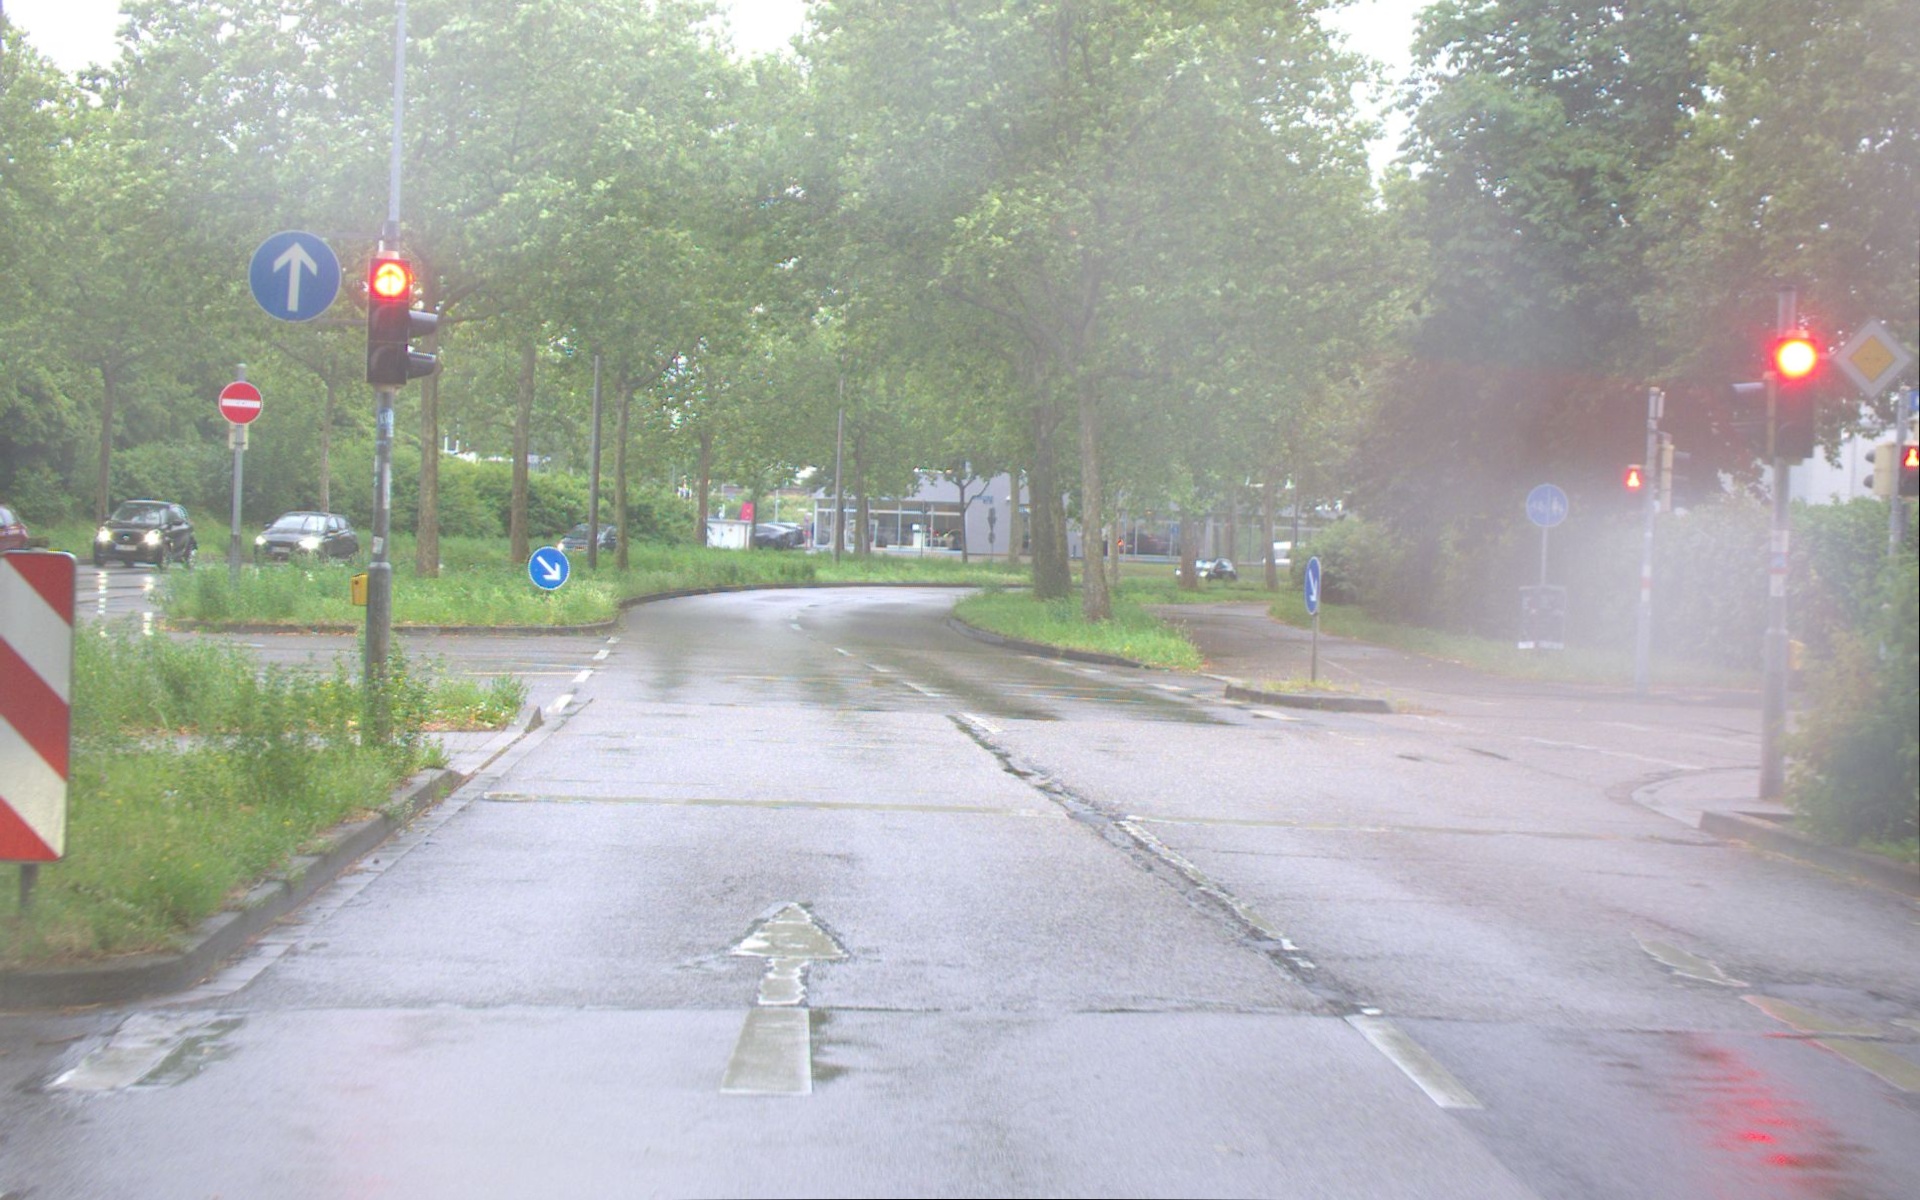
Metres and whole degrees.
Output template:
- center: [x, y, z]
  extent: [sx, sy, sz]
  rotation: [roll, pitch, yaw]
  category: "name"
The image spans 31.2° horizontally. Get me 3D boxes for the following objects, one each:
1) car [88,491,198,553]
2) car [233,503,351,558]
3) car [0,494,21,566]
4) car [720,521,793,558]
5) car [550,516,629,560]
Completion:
- center: [-18.862, -1.796, 79.496]
  extent: [1.587, 1.368, 3.334]
  rotation: [2, 1, 3]
  category: "car"
- center: [-17.541, -1.814, 90.422]
  extent: [1.588, 1.368, 4.260]
  rotation: [2, 1, 10]
  category: "car"
- center: [-19.628, -1.380, 66.663]
  extent: [1.743, 1.403, 4.445]
  rotation: [2, 1, -2]
  category: "car"
- center: [-11.929, -3.540, 201.511]
  extent: [3.986, 2.007, 2.001]
  rotation: [2, 0, -11]
  category: "car"
- center: [-12.327, -2.053, 114.540]
  extent: [1.588, 1.368, 4.261]
  rotation: [2, 1, 8]
  category: "car"
